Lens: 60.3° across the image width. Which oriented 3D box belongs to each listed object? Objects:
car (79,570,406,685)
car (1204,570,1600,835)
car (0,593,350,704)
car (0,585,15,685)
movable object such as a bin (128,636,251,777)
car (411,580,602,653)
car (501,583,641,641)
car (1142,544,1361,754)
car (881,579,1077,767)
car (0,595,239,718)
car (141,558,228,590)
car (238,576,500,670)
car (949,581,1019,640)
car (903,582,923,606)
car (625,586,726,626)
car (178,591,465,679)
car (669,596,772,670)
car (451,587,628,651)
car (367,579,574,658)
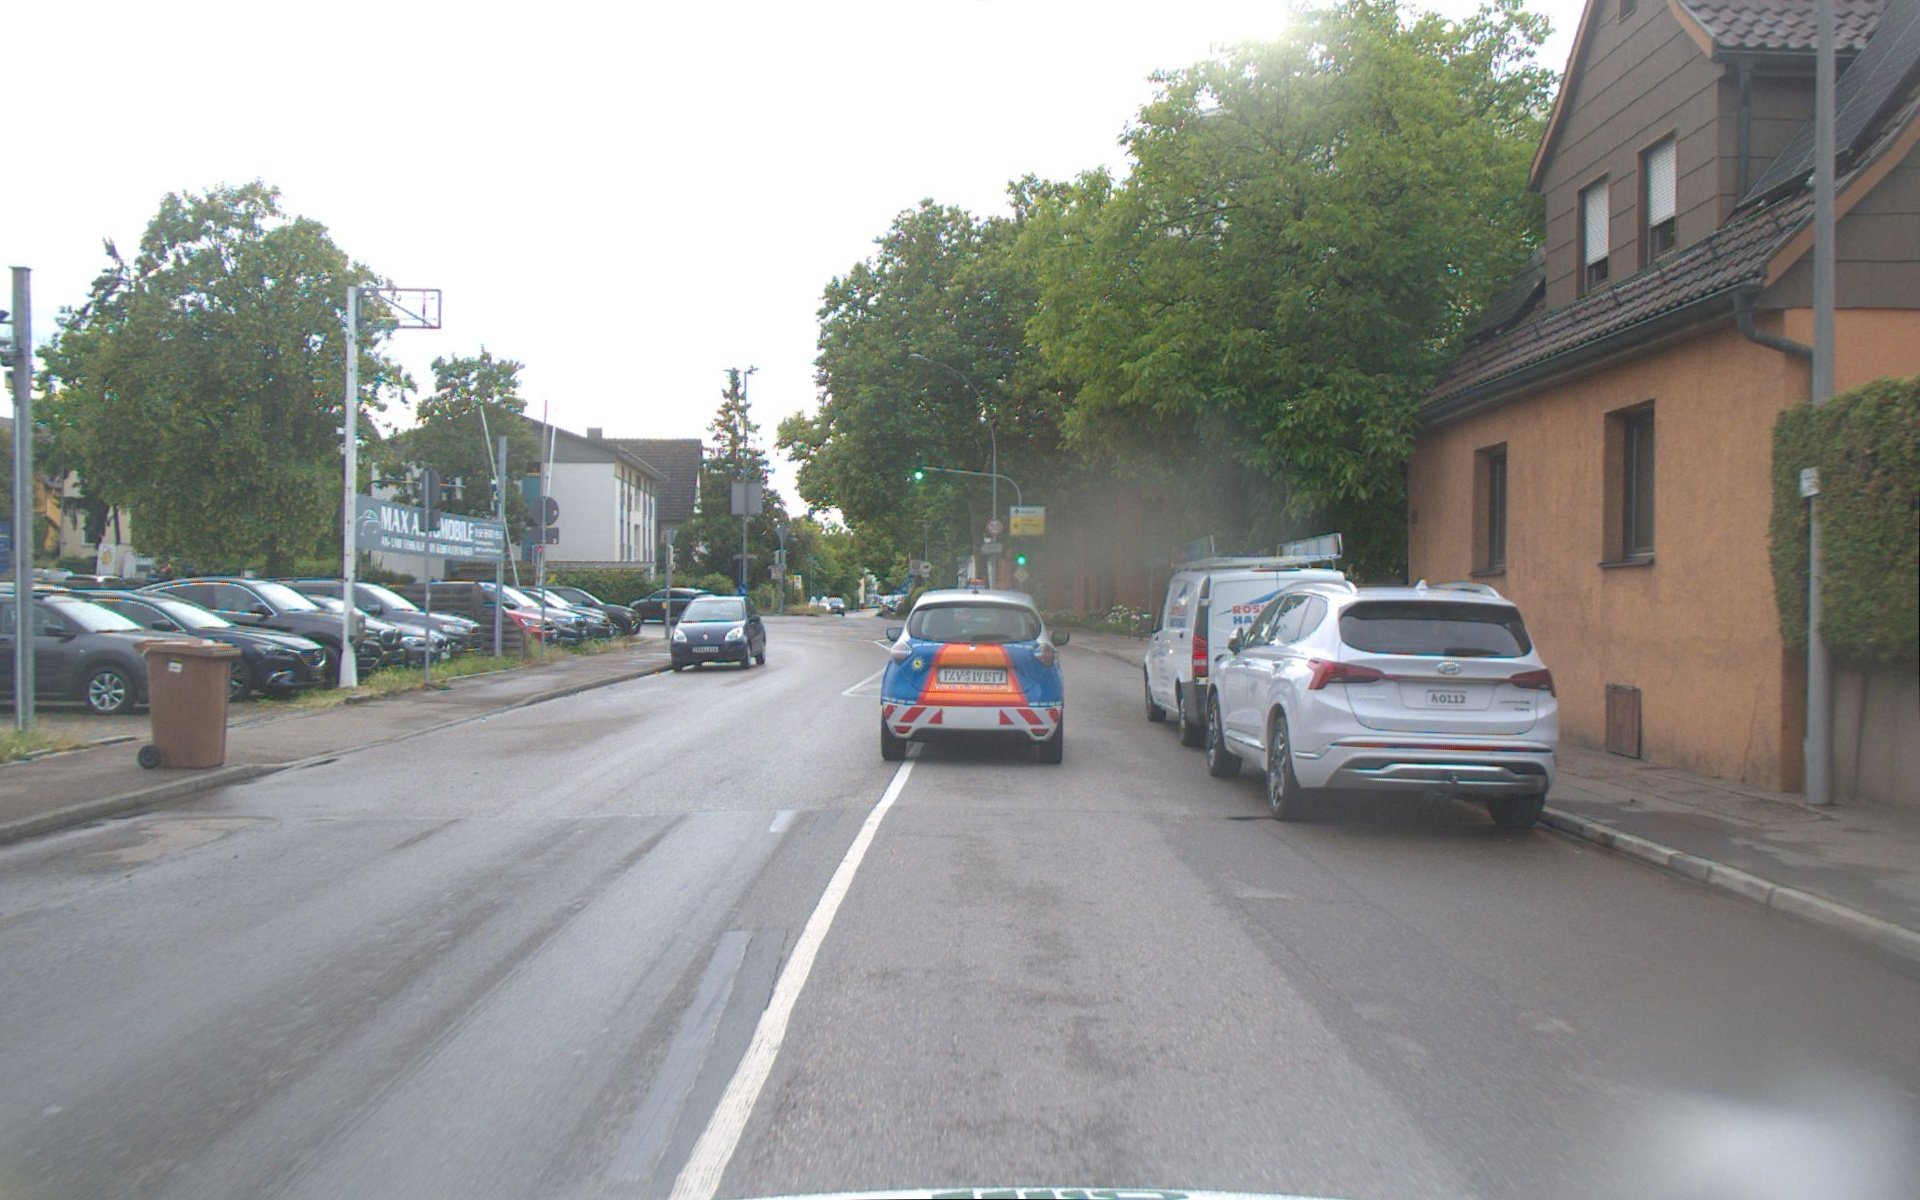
[{"bbox_3d":[-11.271,0.409,26.225,4.258,1.721,2.058,0,0,0],"label":"car"},{"bbox_3d":[3.186,0.654,12.880,1.828,1.694,4.319,1,0,-1],"label":"car"},{"bbox_3d":[-11.254,0.663,23.756,4.258,1.489,1.941,0,0,0],"label":"car"},{"bbox_3d":[-15.814,0.572,24.222,1.657,1.557,4.000,-1,0,-1],"label":"car"},{"bbox_3d":[-6.566,0.895,14.118,0.693,1.149,0.735,1,0,-1],"label":"movable object such as a bin"},{"bbox_3d":[-10.561,0.361,38.700,3.904,1.571,1.804,1,1,1],"label":"car"},{"bbox_3d":[-11.266,0.343,48.102,3.876,1.557,1.618,1,1,-11],"label":"car"},{"bbox_3d":[3.182,0.443,18.971,1.741,2.064,4.755,1,1,1],"label":"car"},{"bbox_3d":[0.129,0.612,16.449,1.710,1.608,3.999,0,1,-1],"label":"car"},{"bbox_3d":[-11.618,0.687,21.232,3.905,1.489,1.839,0,0,0],"label":"car"},{"bbox_3d":[-43.871,-1.455,93.640,1.960,1.753,3.985,2,1,36],"label":"car"},{"bbox_3d":[-11.160,0.418,31.444,4.258,1.720,1.959,0,0,0],"label":"car"},{"bbox_3d":[0.761,0.290,49.576,1.952,1.601,4.002,1,1,2],"label":"car"},{"bbox_3d":[-4.256,-0.580,149.576,1.611,2.052,3.713,1,1,-4],"label":"car"},{"bbox_3d":[-11.397,0.225,66.228,3.923,1.453,1.792,2,2,38],"label":"car"},{"bbox_3d":[-11.107,0.589,29.014,4.258,1.457,1.959,0,0,0],"label":"car"},{"bbox_3d":[-5.005,0.652,34.968,1.593,1.458,3.684,0,0,1],"label":"car"},{"bbox_3d":[-10.450,0.458,41.257,3.904,1.466,1.804,1,1,1],"label":"car"},{"bbox_3d":[-10.527,0.375,35.746,3.904,1.571,1.804,1,1,1],"label":"car"}]
